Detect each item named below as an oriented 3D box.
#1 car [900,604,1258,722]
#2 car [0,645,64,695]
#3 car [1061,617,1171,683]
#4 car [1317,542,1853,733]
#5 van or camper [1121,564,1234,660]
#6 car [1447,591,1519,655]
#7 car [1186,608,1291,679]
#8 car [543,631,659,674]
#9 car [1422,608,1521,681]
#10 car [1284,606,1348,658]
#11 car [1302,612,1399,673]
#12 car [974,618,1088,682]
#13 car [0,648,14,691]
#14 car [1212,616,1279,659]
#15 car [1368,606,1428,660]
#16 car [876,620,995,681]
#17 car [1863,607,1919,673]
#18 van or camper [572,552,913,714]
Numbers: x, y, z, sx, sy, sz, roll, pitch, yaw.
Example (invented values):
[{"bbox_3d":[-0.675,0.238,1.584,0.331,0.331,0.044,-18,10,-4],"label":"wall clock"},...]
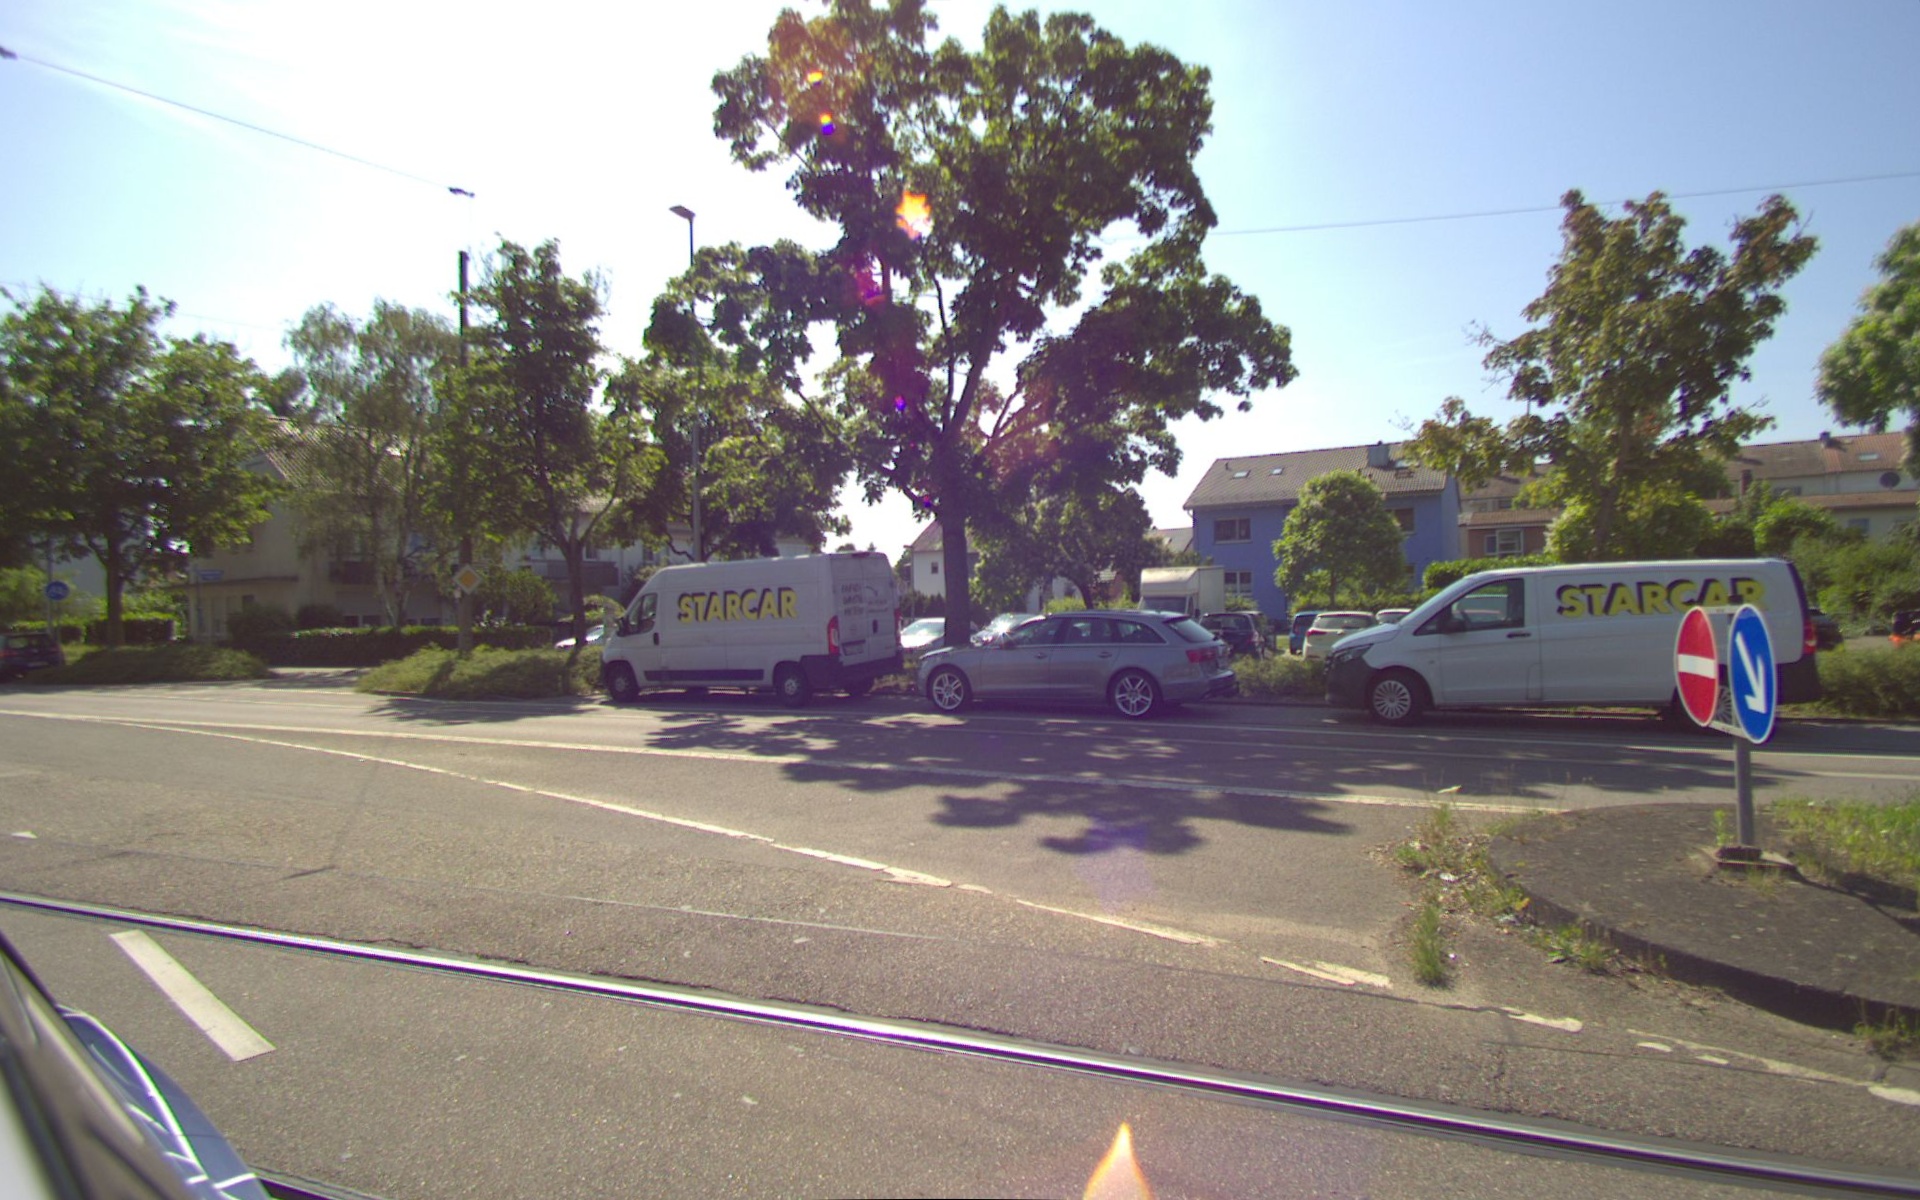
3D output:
[{"bbox_3d":[1.701,0.871,14.876,4.863,1.465,1.920,-2,0,28],"label":"car"},{"bbox_3d":[-30.005,2.176,31.757,4.066,1.462,1.604,-2,-2,30],"label":"car"},{"bbox_3d":[4.056,1.216,25.758,1.655,1.556,3.964,-2,-2,26],"label":"car"},{"bbox_3d":[7.217,0.430,12.450,5.153,1.955,2.185,-2,0,24],"label":"car"},{"bbox_3d":[8.339,0.489,38.199,2.568,3.269,6.911,-2,-2,26],"label":"van or camper"},{"bbox_3d":[16.723,0.750,32.532,1.775,1.905,3.967,-2,-2,24],"label":"car"},{"bbox_3d":[6.831,1.018,24.560,1.655,1.556,3.963,-2,-2,27],"label":"car"},{"bbox_3d":[-13.806,1.987,39.089,1.803,1.536,3.953,-2,-2,34],"label":"car"},{"bbox_3d":[11.014,0.918,21.813,1.724,1.420,3.963,-2,-2,27],"label":"car"},{"bbox_3d":[12.674,1.122,35.898,1.775,1.741,3.967,-2,-2,24],"label":"car"},{"bbox_3d":[9.102,0.946,23.432,1.655,1.280,3.892,-2,-2,27],"label":"car"},{"bbox_3d":[1.956,1.269,26.903,1.655,1.556,3.964,-2,-2,26],"label":"car"},{"bbox_3d":[-34.146,2.387,34.292,4.560,1.406,1.686,-2,-2,28],"label":"car"},{"bbox_3d":[10.435,1.339,36.787,1.693,1.446,3.966,-2,-2,25],"label":"car"},{"bbox_3d":[15.073,1.118,34.786,1.725,1.741,3.967,-2,-2,24],"label":"car"},{"bbox_3d":[-0.606,1.337,27.984,1.655,1.556,3.964,-2,-2,26],"label":"car"},{"bbox_3d":[18.048,0.707,18.270,1.655,1.162,3.865,-2,-2,27],"label":"car"},{"bbox_3d":[-4.042,0.624,18.328,6.121,2.534,2.242,-2,-2,30],"label":"van or camper"}]
